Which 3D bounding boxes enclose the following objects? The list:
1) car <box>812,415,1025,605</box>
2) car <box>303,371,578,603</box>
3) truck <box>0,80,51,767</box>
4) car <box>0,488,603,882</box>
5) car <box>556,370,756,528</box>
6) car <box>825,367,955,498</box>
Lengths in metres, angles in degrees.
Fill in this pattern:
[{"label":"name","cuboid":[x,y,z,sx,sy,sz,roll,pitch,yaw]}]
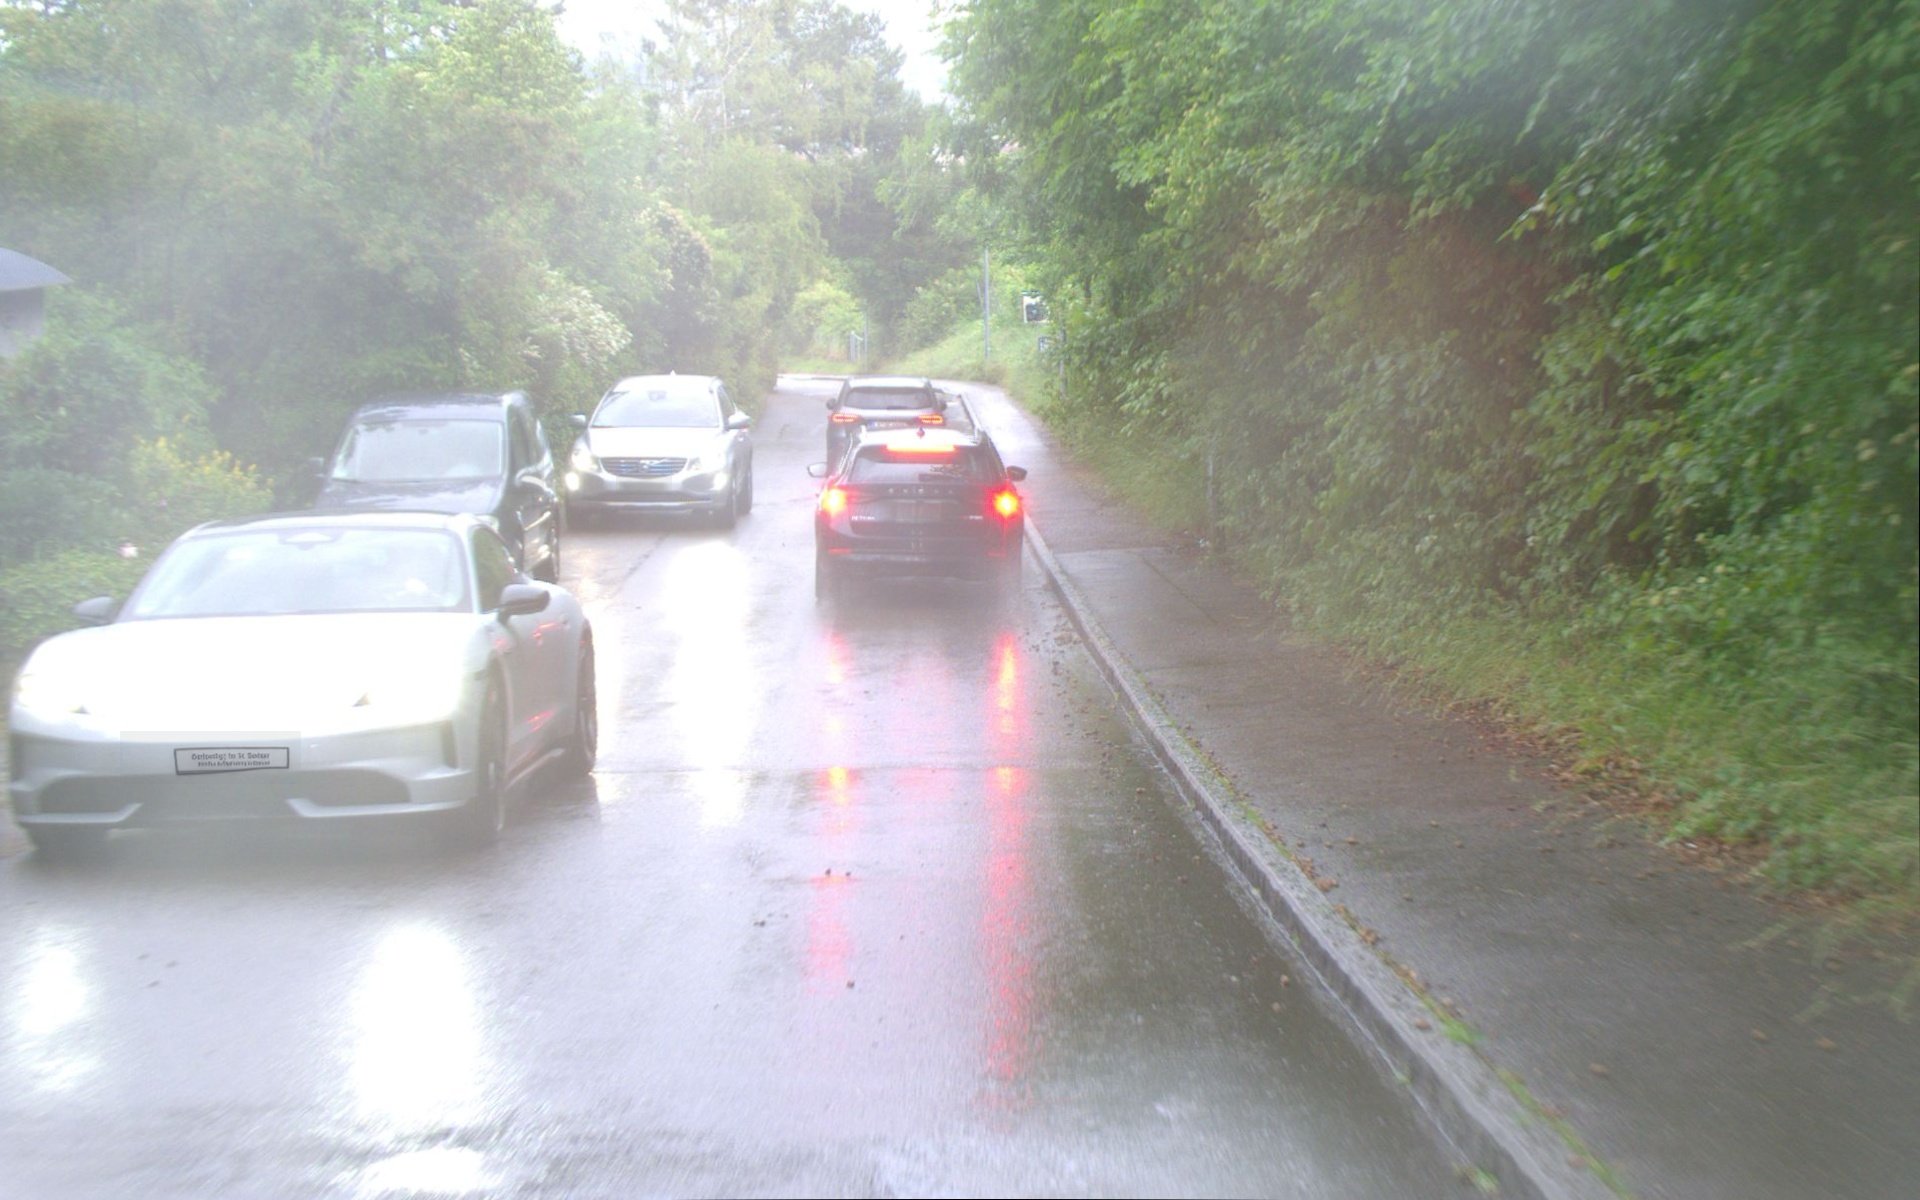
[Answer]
[{"label":"car","cuboid":[-0.340,-0.839,29.977,1.699,1.445,4.001,-1,4,0]},{"label":"car","cuboid":[-4.423,-1.047,29.844,1.689,1.776,4.233,-2,4,0]},{"label":"truck","cuboid":[-8.916,-1.341,21.138,2.667,3.796,8.129,-1,6,-44]},{"label":"car","cuboid":[-2.877,0.333,15.622,1.941,1.517,4.579,0,0,1]},{"label":"car","cuboid":[-3.465,-1.797,39.862,2.048,1.595,4.231,1,5,-2]},{"label":"car","cuboid":[-1.061,-2.464,51.356,1.863,1.737,4.000,0,0,-2]}]
